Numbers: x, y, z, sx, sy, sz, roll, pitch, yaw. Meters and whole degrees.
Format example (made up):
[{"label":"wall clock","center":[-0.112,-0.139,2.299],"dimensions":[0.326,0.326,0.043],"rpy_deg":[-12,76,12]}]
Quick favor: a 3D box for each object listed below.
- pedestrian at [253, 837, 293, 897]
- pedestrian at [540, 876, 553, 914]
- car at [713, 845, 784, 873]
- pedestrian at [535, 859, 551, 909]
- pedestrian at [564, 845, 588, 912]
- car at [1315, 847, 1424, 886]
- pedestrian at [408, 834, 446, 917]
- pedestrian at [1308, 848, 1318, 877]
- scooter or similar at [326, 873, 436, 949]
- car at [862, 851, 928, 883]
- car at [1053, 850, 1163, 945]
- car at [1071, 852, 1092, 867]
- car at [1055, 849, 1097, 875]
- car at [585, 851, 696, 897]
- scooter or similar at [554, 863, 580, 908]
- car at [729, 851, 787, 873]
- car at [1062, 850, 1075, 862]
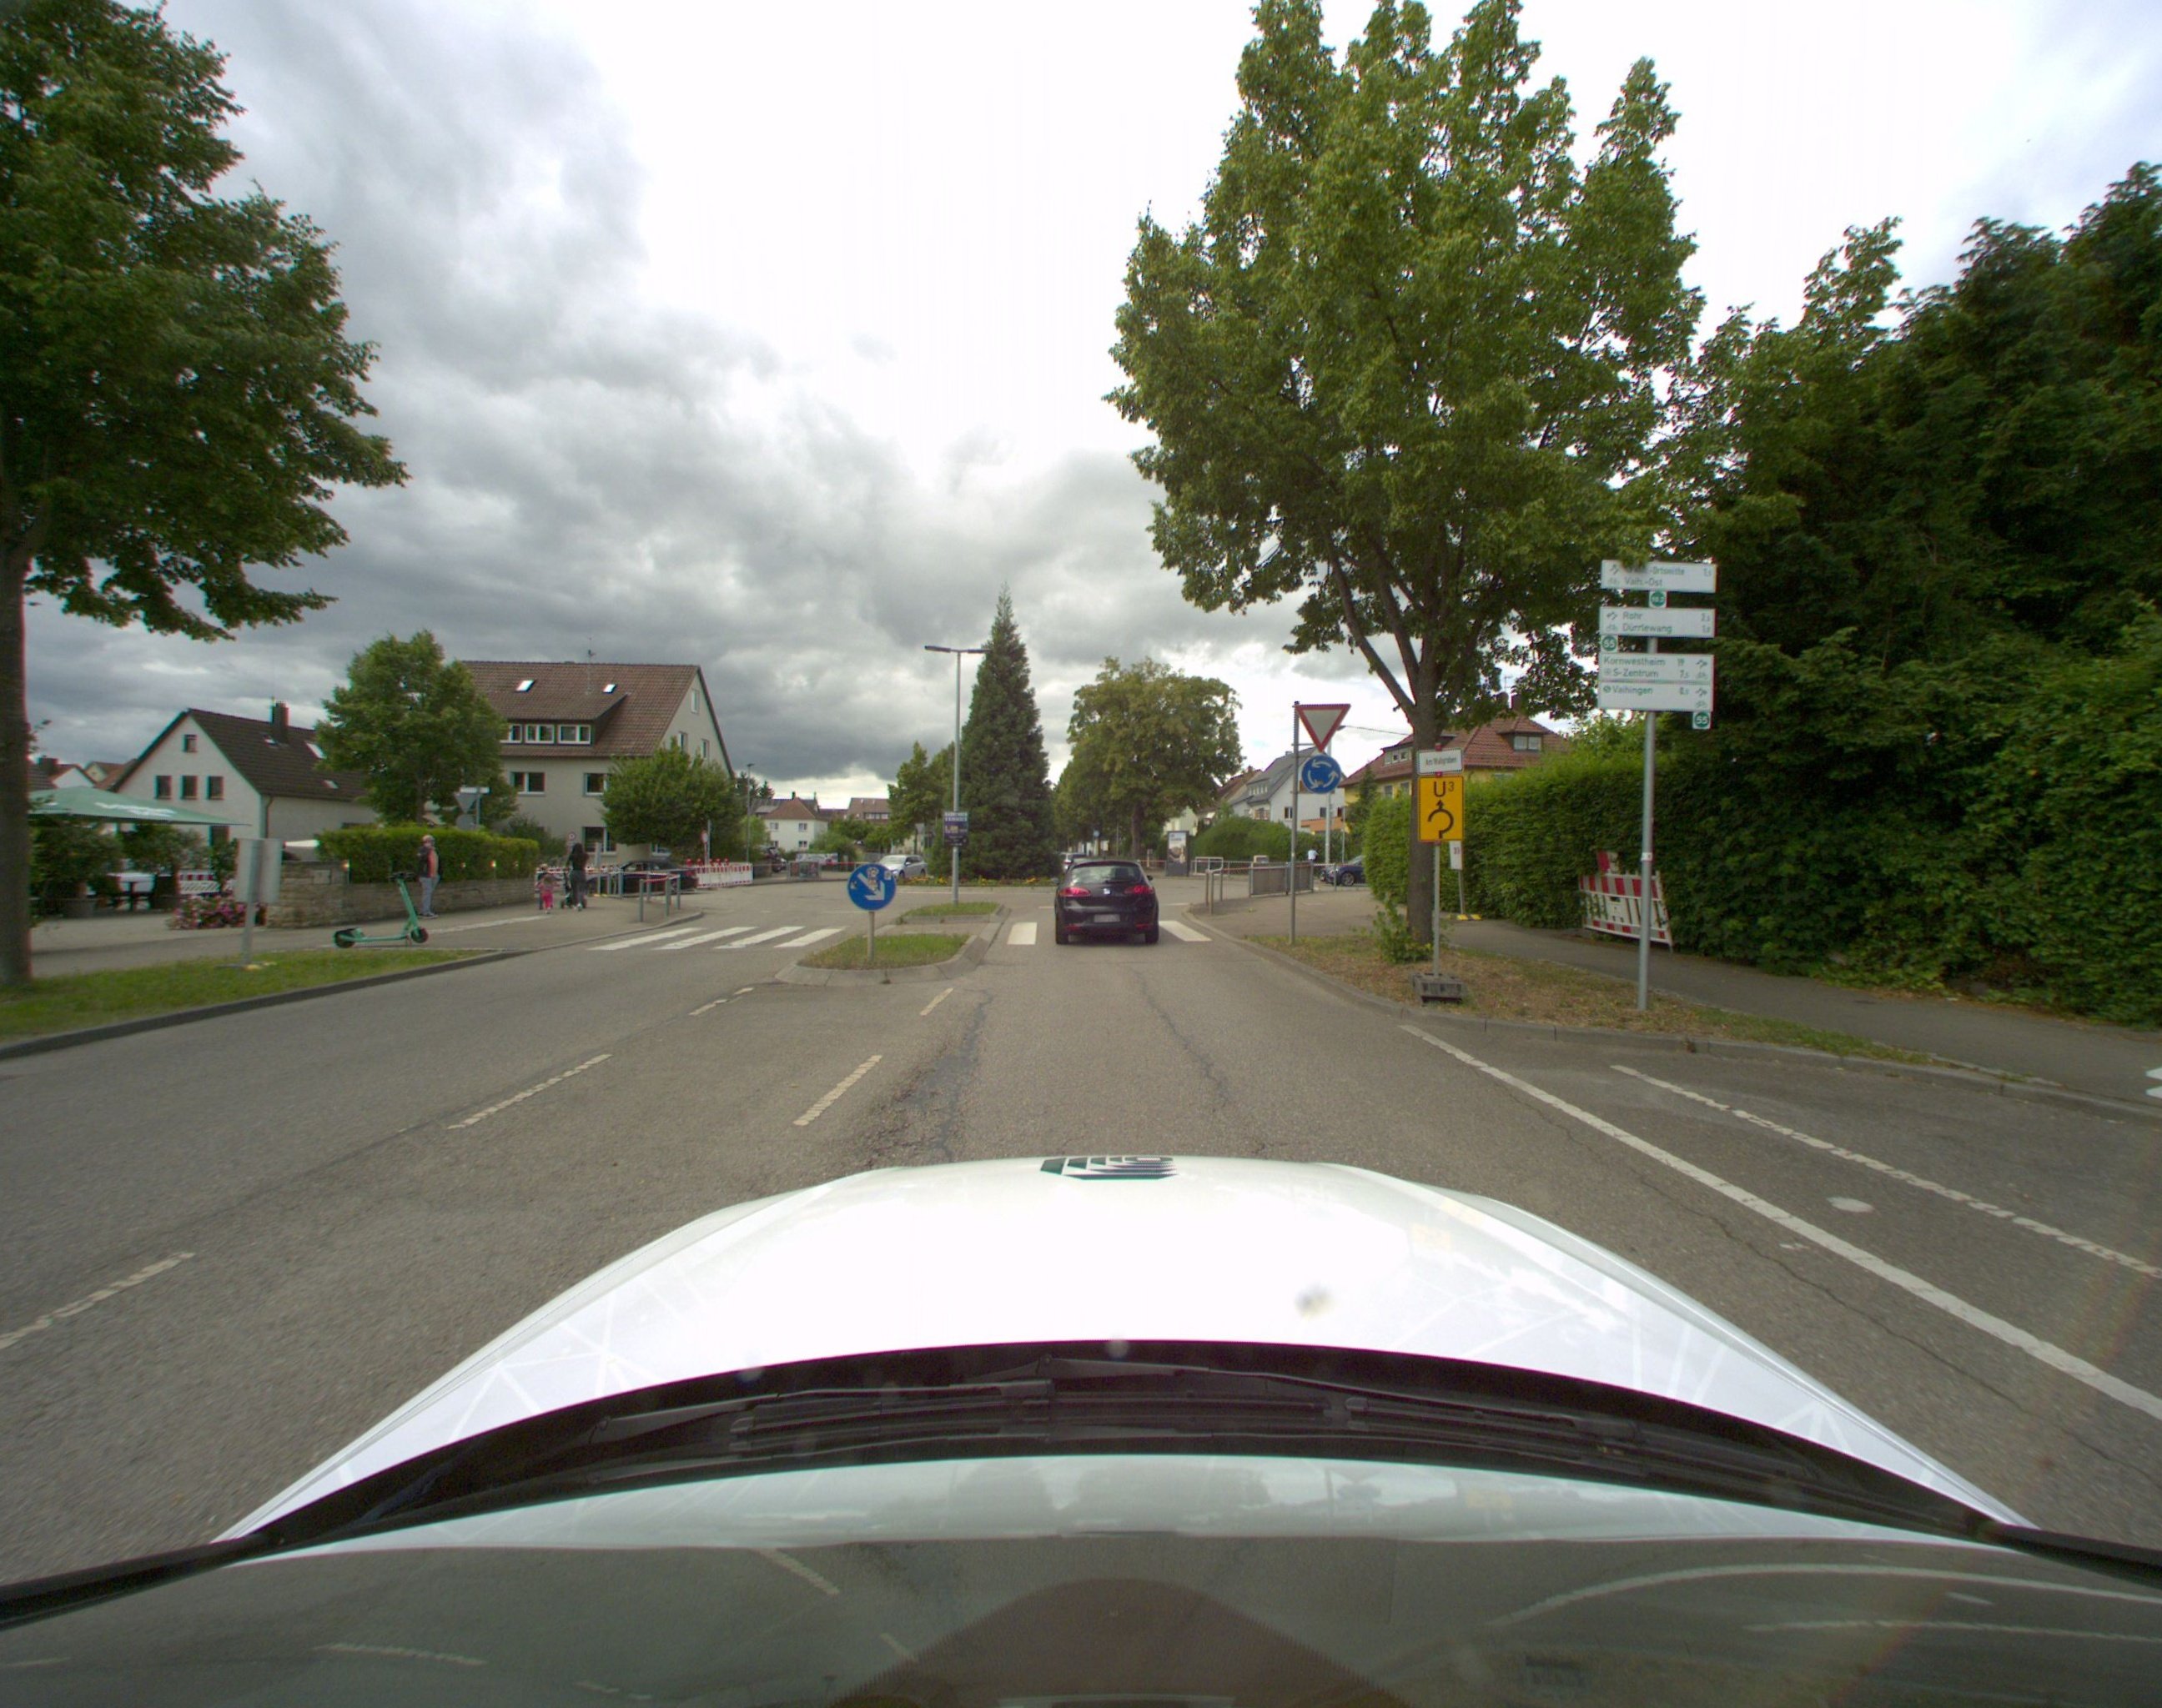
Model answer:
[{"label":"pedestrian","center":[-21.027,0.338,21.212],"dimensions":[0.654,1.539,0.504],"rpy_deg":[0,0,-34]},{"label":"pedestrian","center":[-12.827,0.973,19.529],"dimensions":[0.240,0.894,0.257],"rpy_deg":[1,0,-35]},{"label":"car","center":[-19.816,0.304,48.580],"dimensions":[3.574,1.611,1.601],"rpy_deg":[0,0,2]},{"label":"pedestrian","center":[-13.684,0.754,20.716],"dimensions":[0.344,1.244,0.350],"rpy_deg":[0,0,-34]},{"label":"pedestrian","center":[-12.746,0.601,20.561],"dimensions":[0.485,1.669,0.510],"rpy_deg":[0,0,-35]},{"label":"car","center":[13.098,0.546,37.109],"dimensions":[4.384,1.661,1.649],"rpy_deg":[1,0,-1]},{"label":"pedestrian","center":[-14.345,0.461,17.878],"dimensions":[0.542,1.784,0.557],"rpy_deg":[0,0,-27]},{"label":"pedestrian","center":[12.259,0.445,43.054],"dimensions":[0.486,1.533,0.487],"rpy_deg":[-1,0,21]},{"label":"scooter or similar","center":[-11.161,0.891,13.019],"dimensions":[1.293,1.138,0.344],"rpy_deg":[0,0,-33]},{"label":"car","center":[-9.673,0.658,42.639],"dimensions":[1.858,1.560,4.271],"rpy_deg":[0,0,9]},{"label":"car","center":[0.477,0.678,14.858],"dimensions":[1.726,1.486,4.001],"rpy_deg":[0,0,1]},{"label":"car","center":[0.005,0.540,80.407],"dimensions":[1.475,1.489,3.369],"rpy_deg":[0,0,-11]},{"label":"car","center":[-0.391,0.487,52.243],"dimensions":[1.994,1.613,3.985],"rpy_deg":[0,0,-11]},{"label":"car","center":[-16.813,0.719,31.165],"dimensions":[3.632,1.634,1.558],"rpy_deg":[0,0,-30]},{"label":"scooter or similar","center":[-13.300,0.806,21.072],"dimensions":[0.409,1.095,0.959],"rpy_deg":[3,-1,-39]},{"label":"car","center":[-20.108,0.492,50.768],"dimensions":[3.029,1.382,1.340],"rpy_deg":[0,0,2]},{"label":"car","center":[-1.576,0.251,101.564],"dimensions":[1.591,1.510,3.596],"rpy_deg":[0,0,-3]}]
